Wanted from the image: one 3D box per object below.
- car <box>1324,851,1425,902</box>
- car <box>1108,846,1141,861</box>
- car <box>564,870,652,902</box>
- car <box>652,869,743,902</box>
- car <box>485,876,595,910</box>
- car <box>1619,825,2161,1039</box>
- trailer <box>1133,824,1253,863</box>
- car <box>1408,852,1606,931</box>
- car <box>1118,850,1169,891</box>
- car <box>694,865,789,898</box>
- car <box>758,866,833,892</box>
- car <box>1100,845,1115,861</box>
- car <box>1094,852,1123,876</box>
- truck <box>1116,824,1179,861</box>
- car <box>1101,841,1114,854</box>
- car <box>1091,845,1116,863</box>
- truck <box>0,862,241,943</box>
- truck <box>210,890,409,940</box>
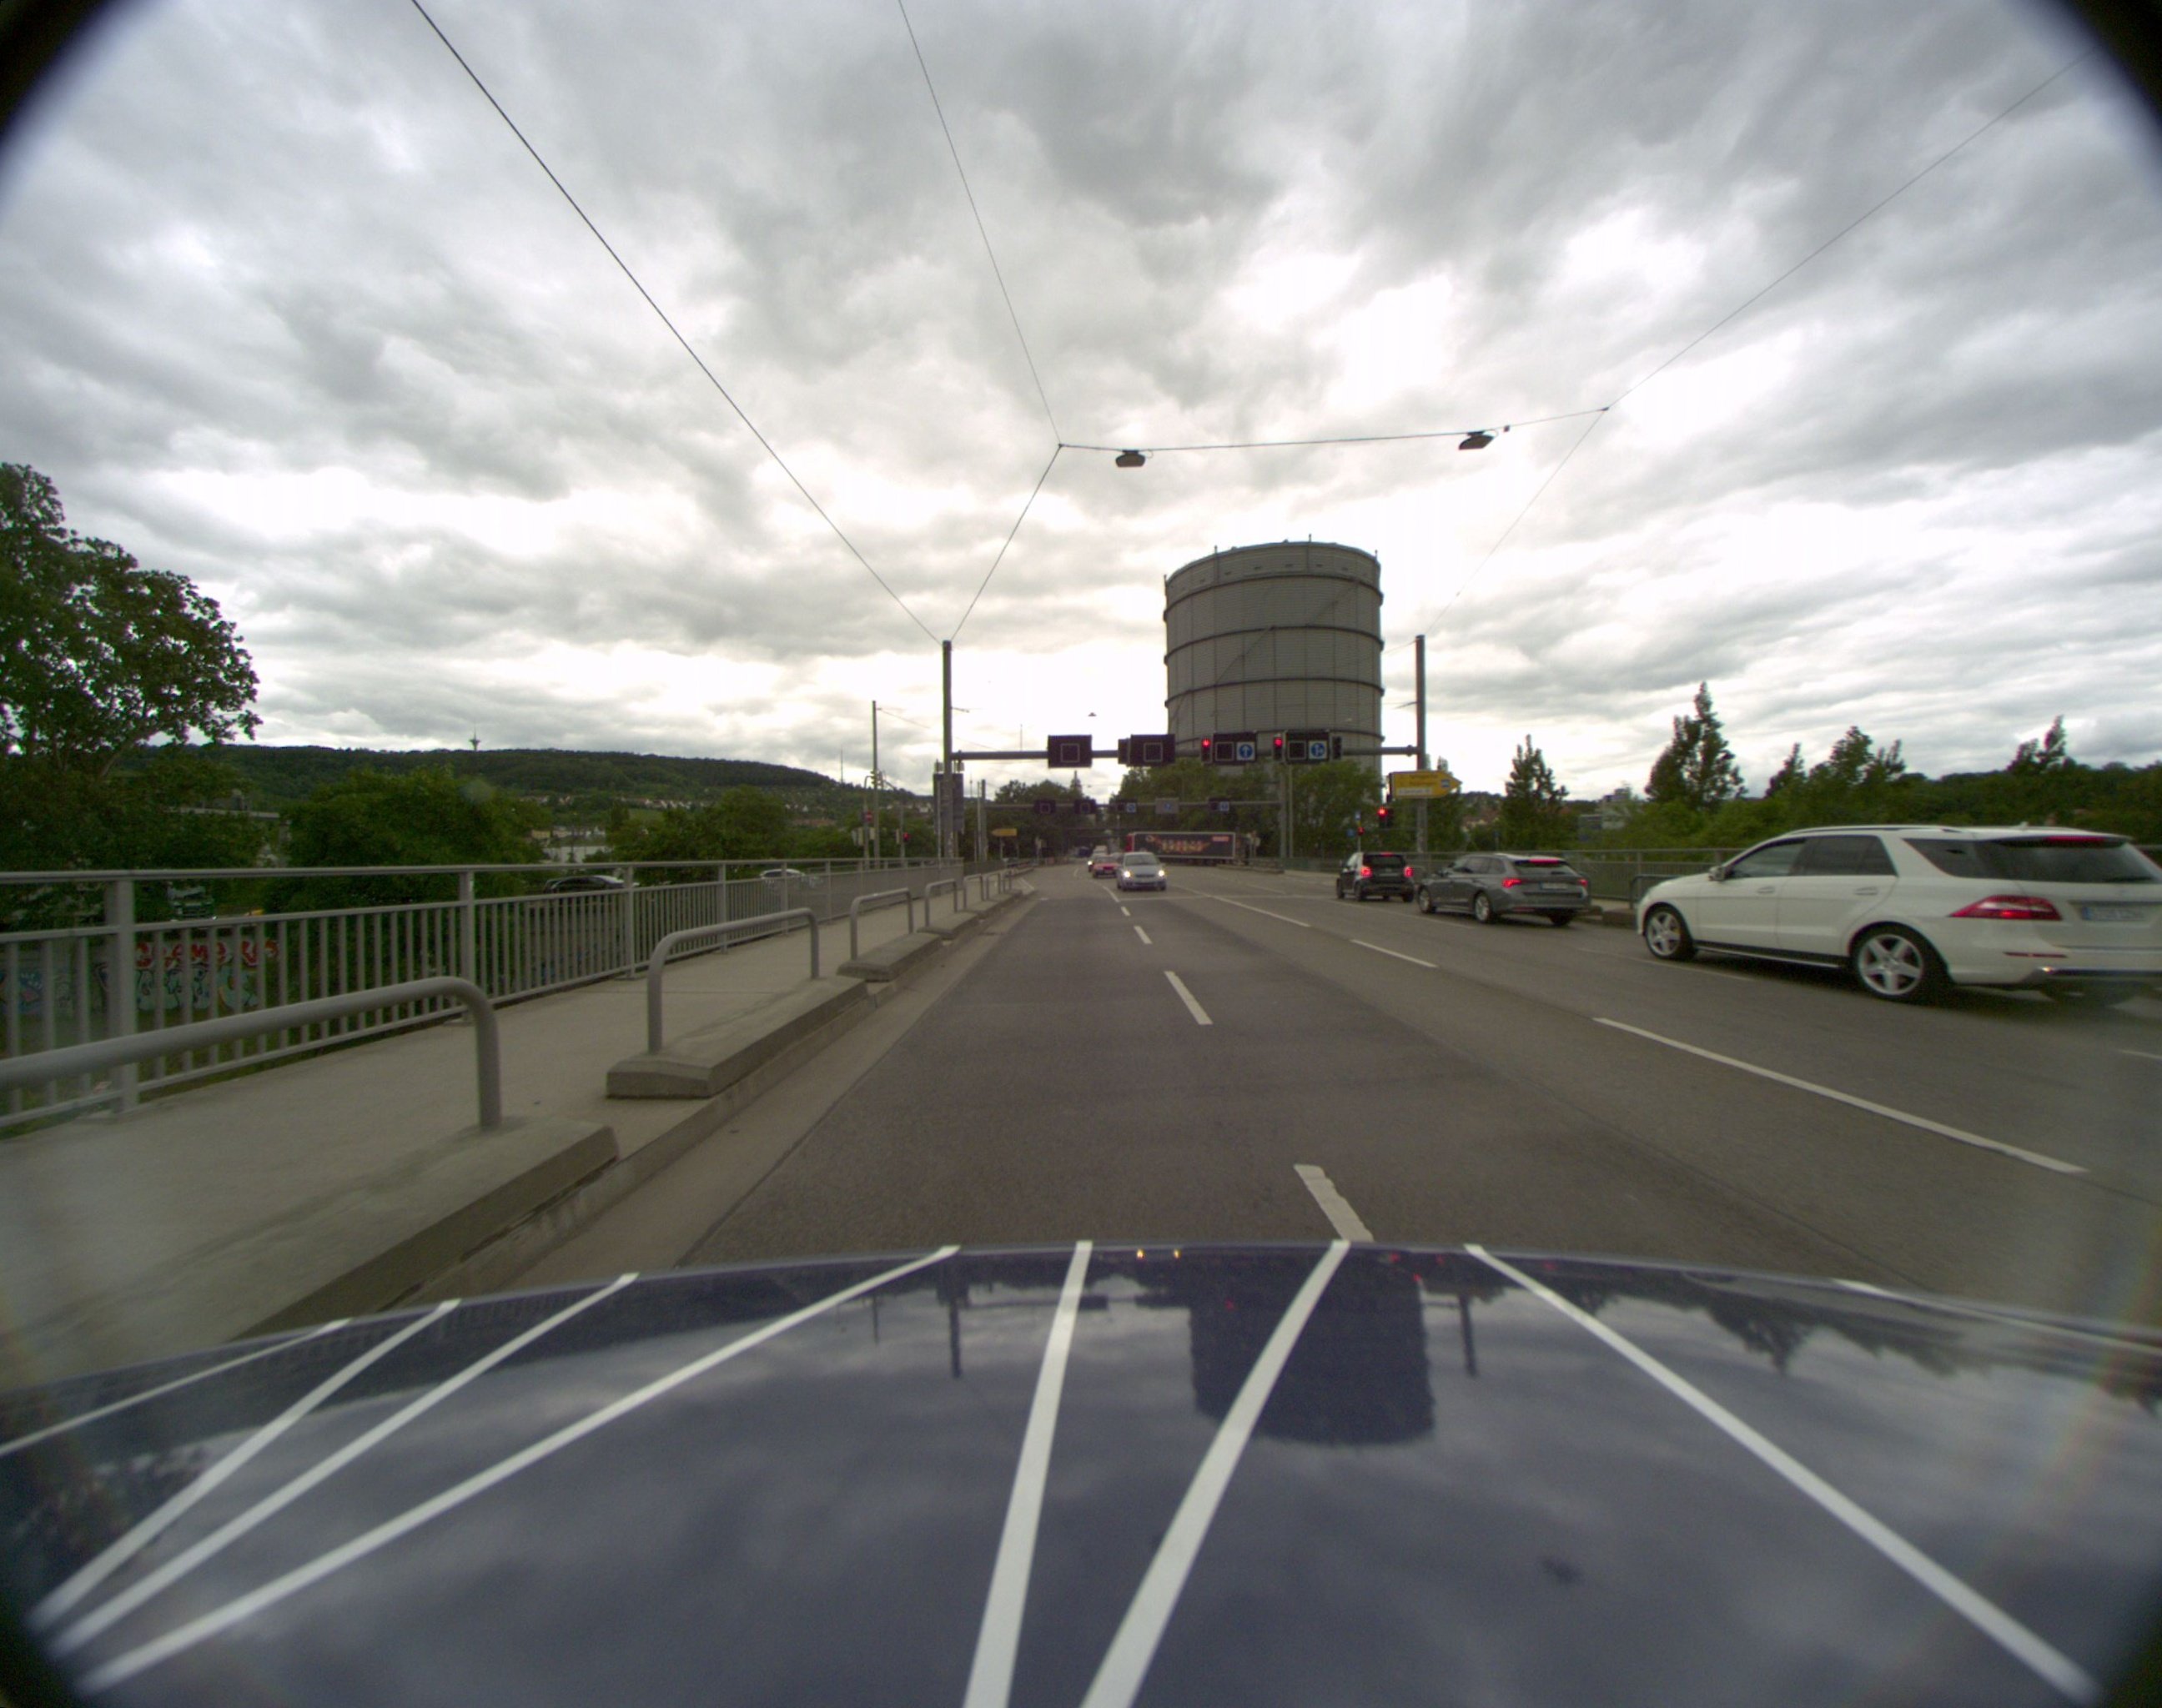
[{"bbox_3d":[9.316,0.670,24.469,1.840,1.495,3.871,0,1,1],"label":"car"},{"bbox_3d":[4.412,-0.072,75.876,1.693,1.412,4.476,2,1,25],"label":"car"},{"bbox_3d":[-26.451,1.772,42.596,3.757,1.531,1.695,-3,1,-1],"label":"car"},{"bbox_3d":[-22.888,1.882,45.484,4.339,1.610,1.999,-3,2,0],"label":"car"},{"bbox_3d":[-31.904,2.301,44.903,4.959,1.610,1.999,-3,2,0],"label":"car"},{"bbox_3d":[8.721,0.617,8.589,1.884,1.751,4.802,0,1,0],"label":"car"},{"bbox_3d":[13.087,-1.318,90.338,13.740,4.296,3.679,2,1,35],"label":"trailer"},{"bbox_3d":[9.097,0.710,16.758,1.840,1.495,4.516,0,1,0],"label":"car"},{"bbox_3d":[2.546,0.636,31.720,1.747,1.594,3.681,0,0,-1],"label":"car"},{"bbox_3d":[-17.845,1.426,40.105,4.151,1.413,1.695,-3,2,-2],"label":"car"},{"bbox_3d":[-17.259,1.504,46.080,3.762,1.306,1.790,-3,2,-1],"label":"car"},{"bbox_3d":[4.271,-0.136,125.186,2.331,2.509,4.948,1,1,1],"label":"car"},{"bbox_3d":[1.706,0.629,48.844,1.747,1.455,3.954,0,1,0],"label":"car"},{"bbox_3d":[8.145,-1.476,94.026,3.679,4.296,7.214,1,1,-39],"label":"truck"},{"bbox_3d":[4.027,-0.960,116.254,1.933,1.987,4.453,0,0,1],"label":"car"},{"bbox_3d":[1.921,-0.038,63.643,1.695,1.412,4.469,-1,0,6],"label":"car"},{"bbox_3d":[-53.244,2.578,41.561,10.423,3.857,3.226,-2,1,-3],"label":"truck"},{"bbox_3d":[-69.494,5.471,68.662,14.418,3.894,3.381,1,1,0],"label":"truck"}]
